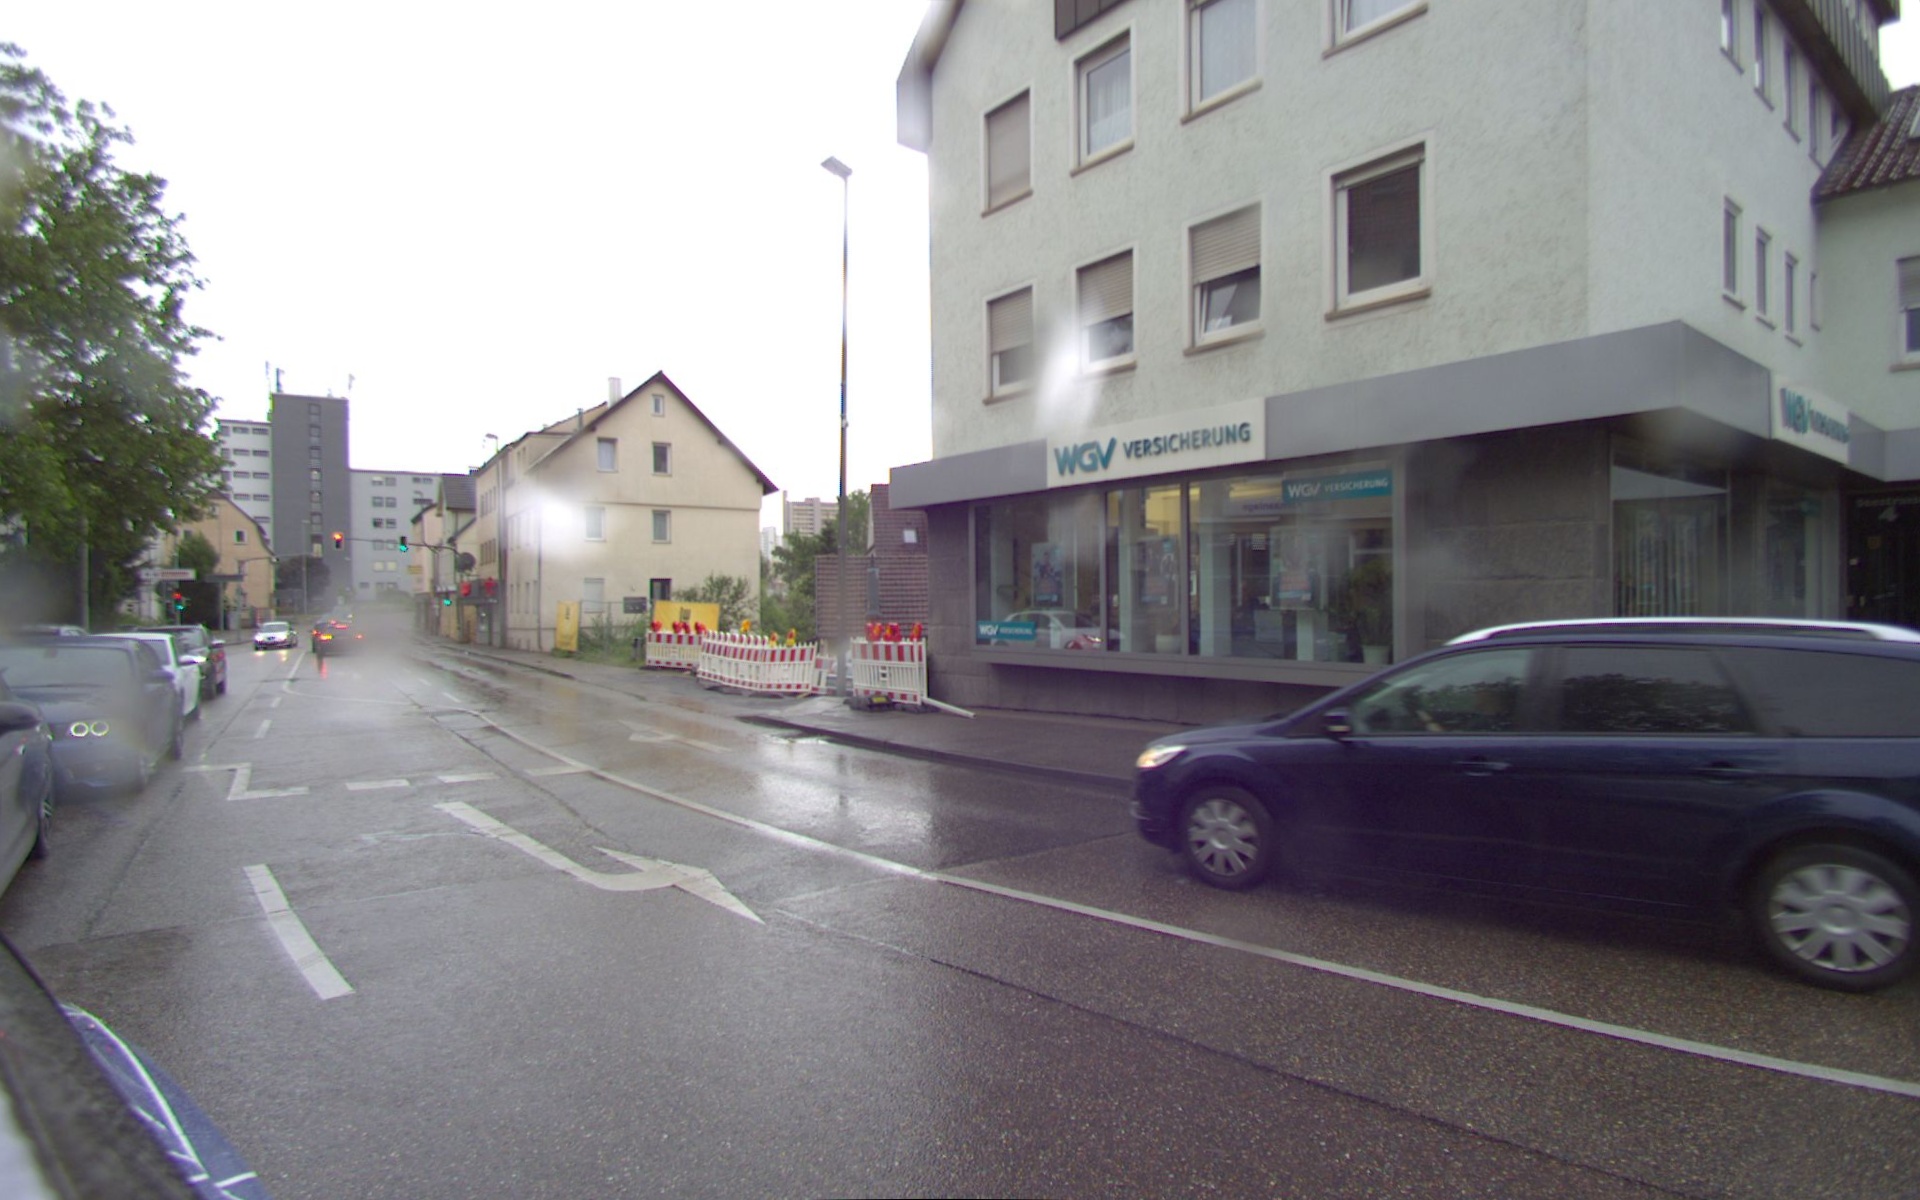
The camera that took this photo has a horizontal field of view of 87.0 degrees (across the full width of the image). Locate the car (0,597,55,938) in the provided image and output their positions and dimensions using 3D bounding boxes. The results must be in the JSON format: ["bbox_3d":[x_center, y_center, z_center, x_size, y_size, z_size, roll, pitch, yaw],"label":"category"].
[{"bbox_3d":[-5.639,0.815,4.741,1.792,1.583,4.284,-1,-1,-38],"label":"car"}]

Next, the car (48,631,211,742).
[{"bbox_3d":[-12.754,1.226,15.750,1.660,1.432,4.010,-1,-1,-35],"label":"car"}]

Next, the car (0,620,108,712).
[{"bbox_3d":[-20.088,1.346,21.749,1.904,1.794,4.748,0,-2,-30],"label":"car"}]

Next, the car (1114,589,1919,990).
[{"bbox_3d":[3.116,0.775,5.315,4.265,1.522,1.716,-2,-3,36],"label":"car"}]

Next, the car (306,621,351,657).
[{"bbox_3d":[-32.027,1.966,51.246,1.791,1.657,4.287,-1,-1,-34],"label":"car"}]

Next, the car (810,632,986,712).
[{"bbox_3d":[-1.286,1.587,21.798,3.456,1.401,1.653,10,-10,-41],"label":"car"}]

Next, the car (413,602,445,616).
[{"bbox_3d":[-63.713,1.091,121.517,1.718,1.577,3.831,-2,-1,3],"label":"car"}]

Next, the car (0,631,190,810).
[{"bbox_3d":[-8.708,1.028,9.843,1.615,1.443,3.816,1,-2,-33],"label":"car"}]

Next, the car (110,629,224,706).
[{"bbox_3d":[-17.301,1.406,22.236,1.659,1.472,4.010,-1,-1,-34],"label":"car"}]

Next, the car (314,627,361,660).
[{"bbox_3d":[-28.286,1.929,45.937,1.684,1.394,3.679,-1,-1,-33],"label":"car"}]

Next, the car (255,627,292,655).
[{"bbox_3d":[-39.608,2.352,58.426,1.589,1.515,3.728,-2,0,-33],"label":"car"}]
